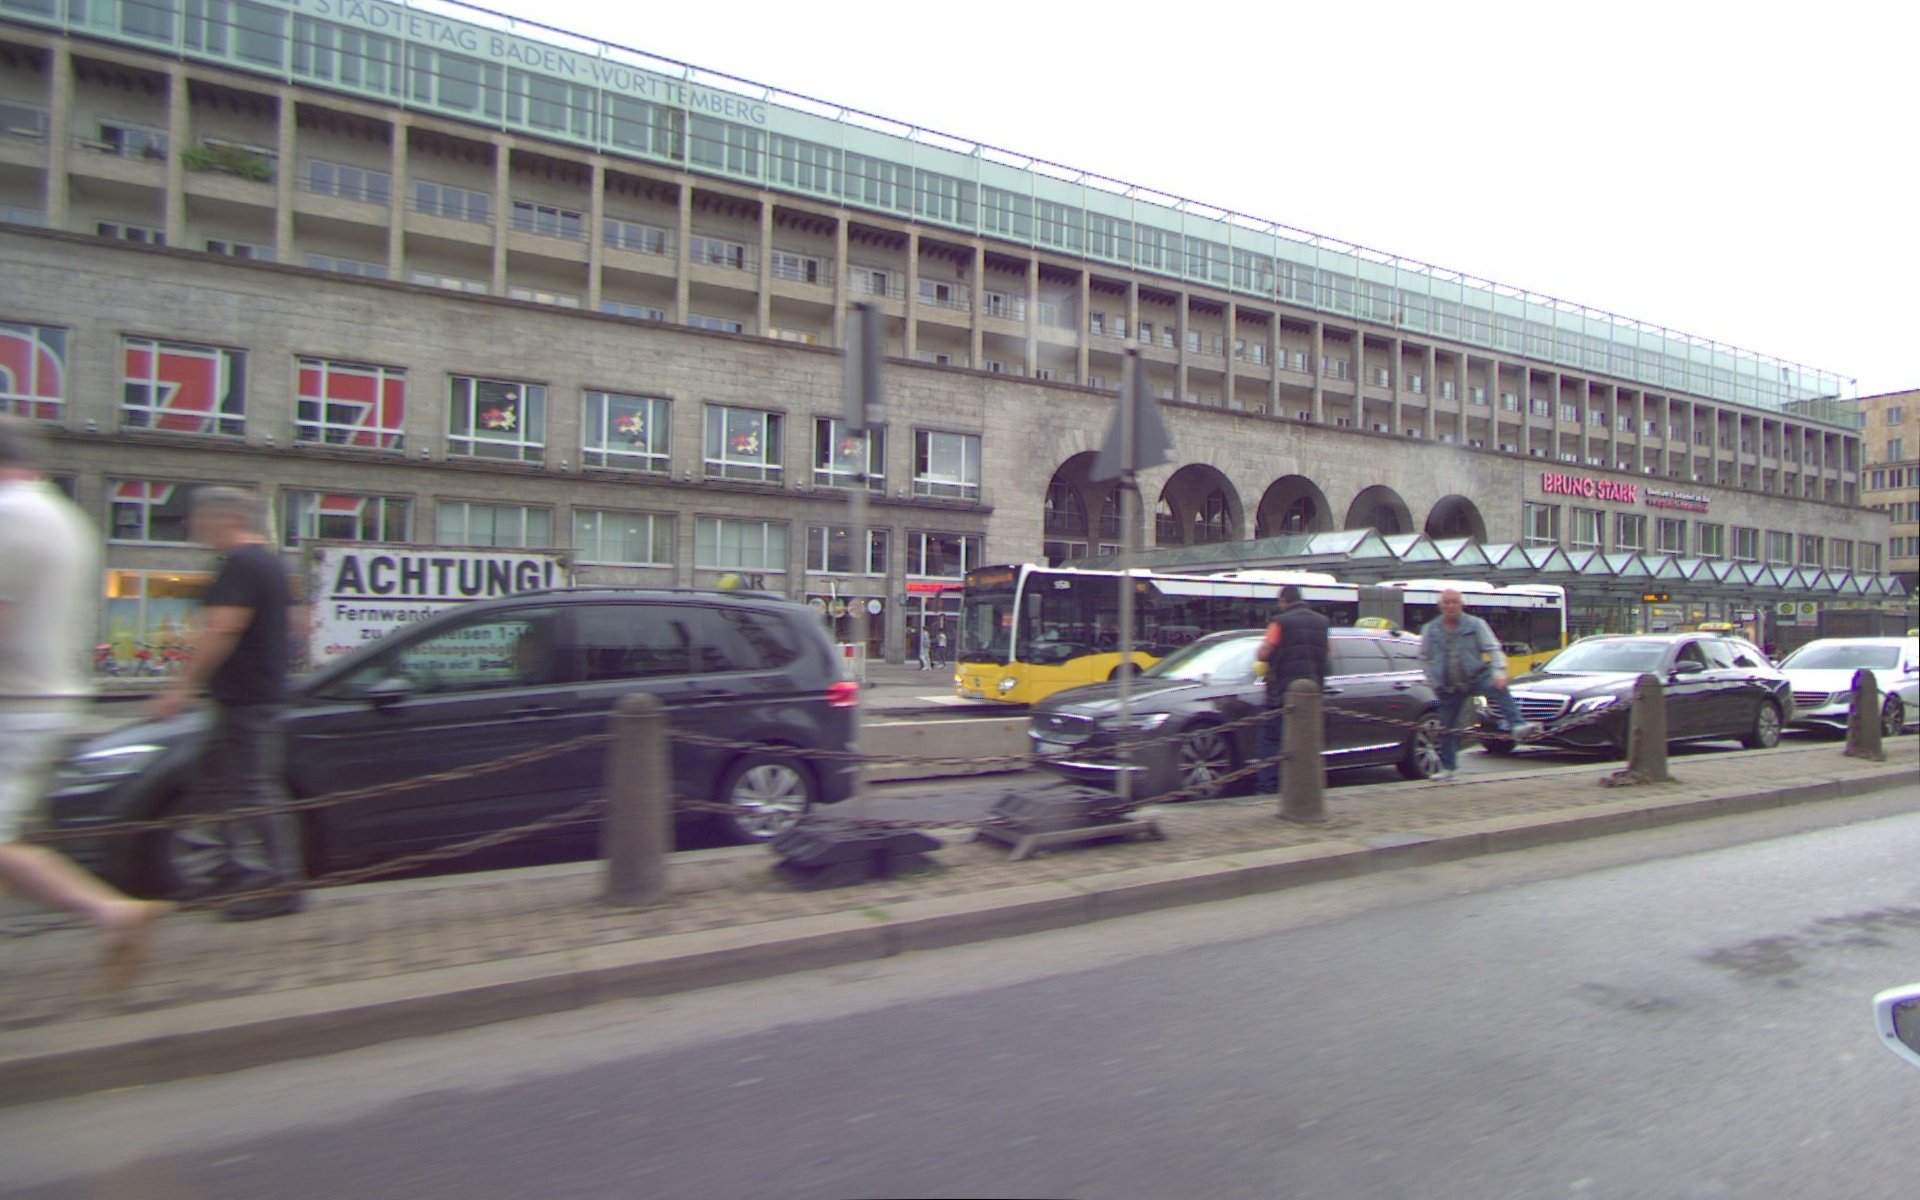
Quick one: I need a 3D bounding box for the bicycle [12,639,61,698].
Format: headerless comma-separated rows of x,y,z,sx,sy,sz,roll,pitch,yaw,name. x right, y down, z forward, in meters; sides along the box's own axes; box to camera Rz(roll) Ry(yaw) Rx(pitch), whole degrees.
-22.304,1.631,24.280,0.673,1.343,1.655,2,-1,-37,bicycle

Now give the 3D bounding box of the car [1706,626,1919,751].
14.029,1.313,15.636,5.130,1.681,1.968,2,-3,-30,car

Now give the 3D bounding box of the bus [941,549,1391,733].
4.867,0.918,22.391,10.442,3.421,2.866,2,-1,-28,bus

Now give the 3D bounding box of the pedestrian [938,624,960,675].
-0.446,2.003,40.958,0.700,2.040,0.573,2,-2,-29,pedestrian

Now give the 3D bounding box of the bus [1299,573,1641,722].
14.056,1.264,27.288,10.442,3.505,2.866,2,-1,-28,bus

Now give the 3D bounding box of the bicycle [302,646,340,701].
-17.204,1.953,27.040,0.673,1.343,2.190,2,-1,-37,bicycle

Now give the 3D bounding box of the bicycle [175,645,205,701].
-19.754,1.849,25.778,0.566,1.343,1.549,2,-1,-37,bicycle

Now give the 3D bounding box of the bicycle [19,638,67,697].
-22.224,1.610,24.364,0.673,1.343,1.655,2,-1,-37,bicycle

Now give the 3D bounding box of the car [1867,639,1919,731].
18.988,1.555,18.480,4.992,1.597,1.921,2,-3,-30,car

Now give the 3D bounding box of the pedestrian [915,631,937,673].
-1.339,2.057,39.588,0.700,1.622,0.573,2,-2,-29,pedestrian

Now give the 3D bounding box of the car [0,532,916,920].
-2.772,0.672,6.402,4.626,1.712,1.922,2,-3,-29,car

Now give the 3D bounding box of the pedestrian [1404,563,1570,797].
4.331,0.627,8.296,0.609,1.792,1.046,2,-2,-28,pedestrian

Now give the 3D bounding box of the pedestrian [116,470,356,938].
-3.038,0.405,4.295,0.702,1.778,0.696,1,-1,-28,pedestrian

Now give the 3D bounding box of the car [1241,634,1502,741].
7.457,1.524,18.135,4.626,1.712,1.922,2,-3,-29,car

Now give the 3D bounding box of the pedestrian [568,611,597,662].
-13.194,1.272,35.077,0.743,1.739,0.623,2,-2,-41,pedestrian

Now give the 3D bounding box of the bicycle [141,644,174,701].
-20.333,1.817,25.471,0.575,1.343,1.693,2,-1,-37,bicycle

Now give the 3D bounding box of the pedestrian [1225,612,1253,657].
10.200,1.261,36.772,0.747,1.588,0.628,1,0,-27,pedestrian

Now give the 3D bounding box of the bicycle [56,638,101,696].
-21.641,1.631,24.685,0.673,1.343,1.716,2,-1,-37,bicycle

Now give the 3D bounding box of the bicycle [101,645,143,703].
-20.945,1.825,25.134,0.673,1.343,1.693,2,-1,-37,bicycle

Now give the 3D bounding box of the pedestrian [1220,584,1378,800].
2.735,0.702,8.124,0.984,1.628,0.720,1,0,-29,pedestrian

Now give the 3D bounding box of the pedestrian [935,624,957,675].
-0.585,2.018,40.977,0.700,2.040,0.573,2,-2,-29,pedestrian

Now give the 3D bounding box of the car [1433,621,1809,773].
8.416,1.145,12.686,4.952,1.597,1.921,2,-3,-30,car

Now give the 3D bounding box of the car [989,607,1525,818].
2.993,0.977,9.749,5.197,1.597,1.922,2,-3,-29,car

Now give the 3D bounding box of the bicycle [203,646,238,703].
-19.137,1.899,25.987,0.673,1.343,1.913,2,-1,-37,bicycle

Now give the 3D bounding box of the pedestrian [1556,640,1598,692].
20.646,2.202,33.607,1.013,1.689,0.737,1,0,-27,pedestrian

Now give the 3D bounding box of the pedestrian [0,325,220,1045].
-2.883,0.242,3.154,0.763,2.034,0.720,1,0,-28,pedestrian

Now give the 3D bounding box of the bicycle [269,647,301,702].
-17.979,1.952,26.730,0.556,1.343,2.190,2,-1,-37,bicycle
